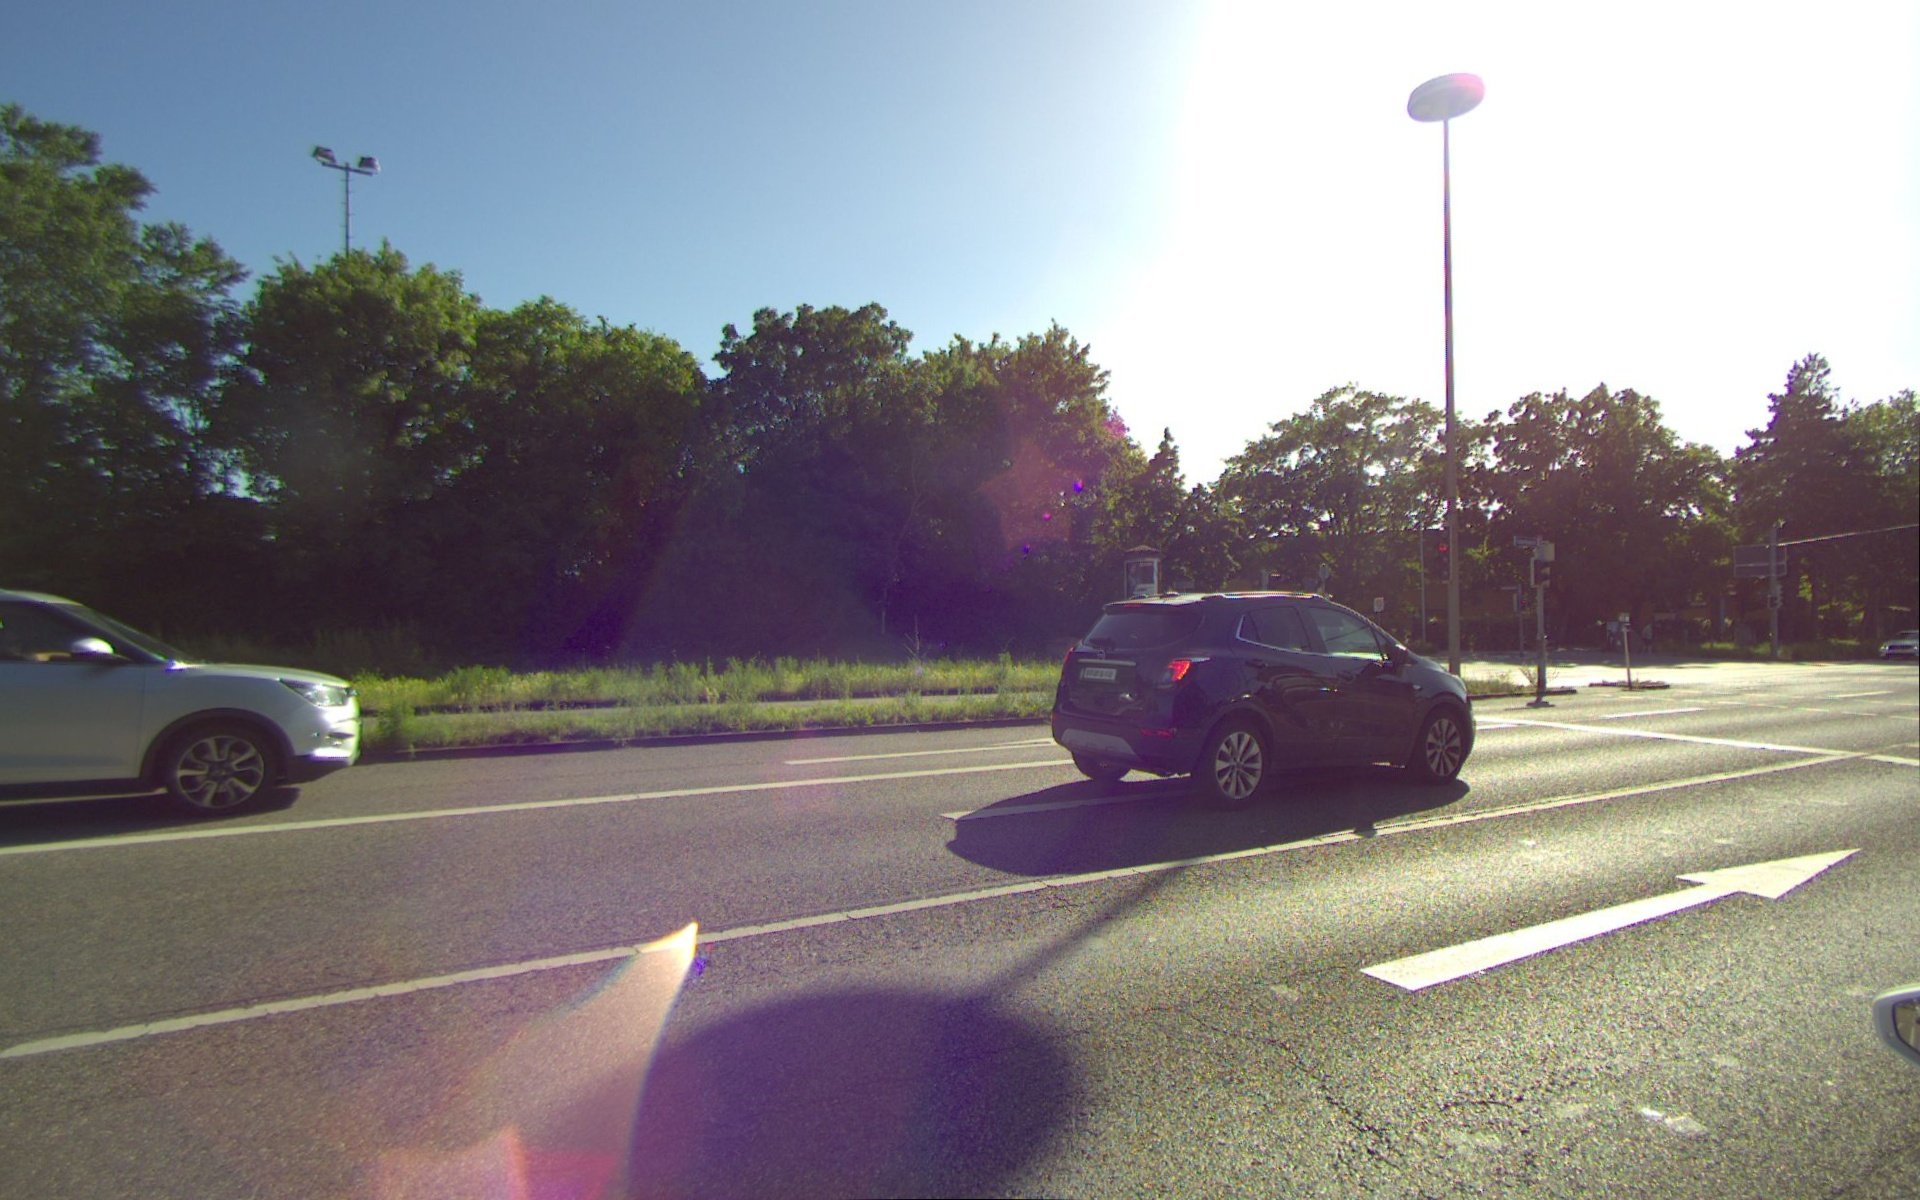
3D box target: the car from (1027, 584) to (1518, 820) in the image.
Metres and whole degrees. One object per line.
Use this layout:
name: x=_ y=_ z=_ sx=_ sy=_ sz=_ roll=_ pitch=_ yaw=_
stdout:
car: x=2.862 y=0.773 z=8.905 sx=4.366 sy=1.653 sz=1.688 roll=1 pitch=-1 yaw=-31

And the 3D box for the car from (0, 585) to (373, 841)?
car: x=-6.574 y=0.737 z=7.185 sx=4.058 sy=1.631 sz=1.776 roll=1 pitch=-1 yaw=-31

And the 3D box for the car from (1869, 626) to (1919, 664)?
car: x=47.062 y=2.222 z=49.741 sx=4.210 sy=1.706 sz=1.855 roll=2 pitch=0 yaw=-30

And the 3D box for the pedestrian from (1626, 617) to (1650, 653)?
pedestrian: x=35.058 y=1.809 z=51.937 sx=0.542 sy=1.859 sz=0.843 roll=0 pitch=-1 yaw=-26
